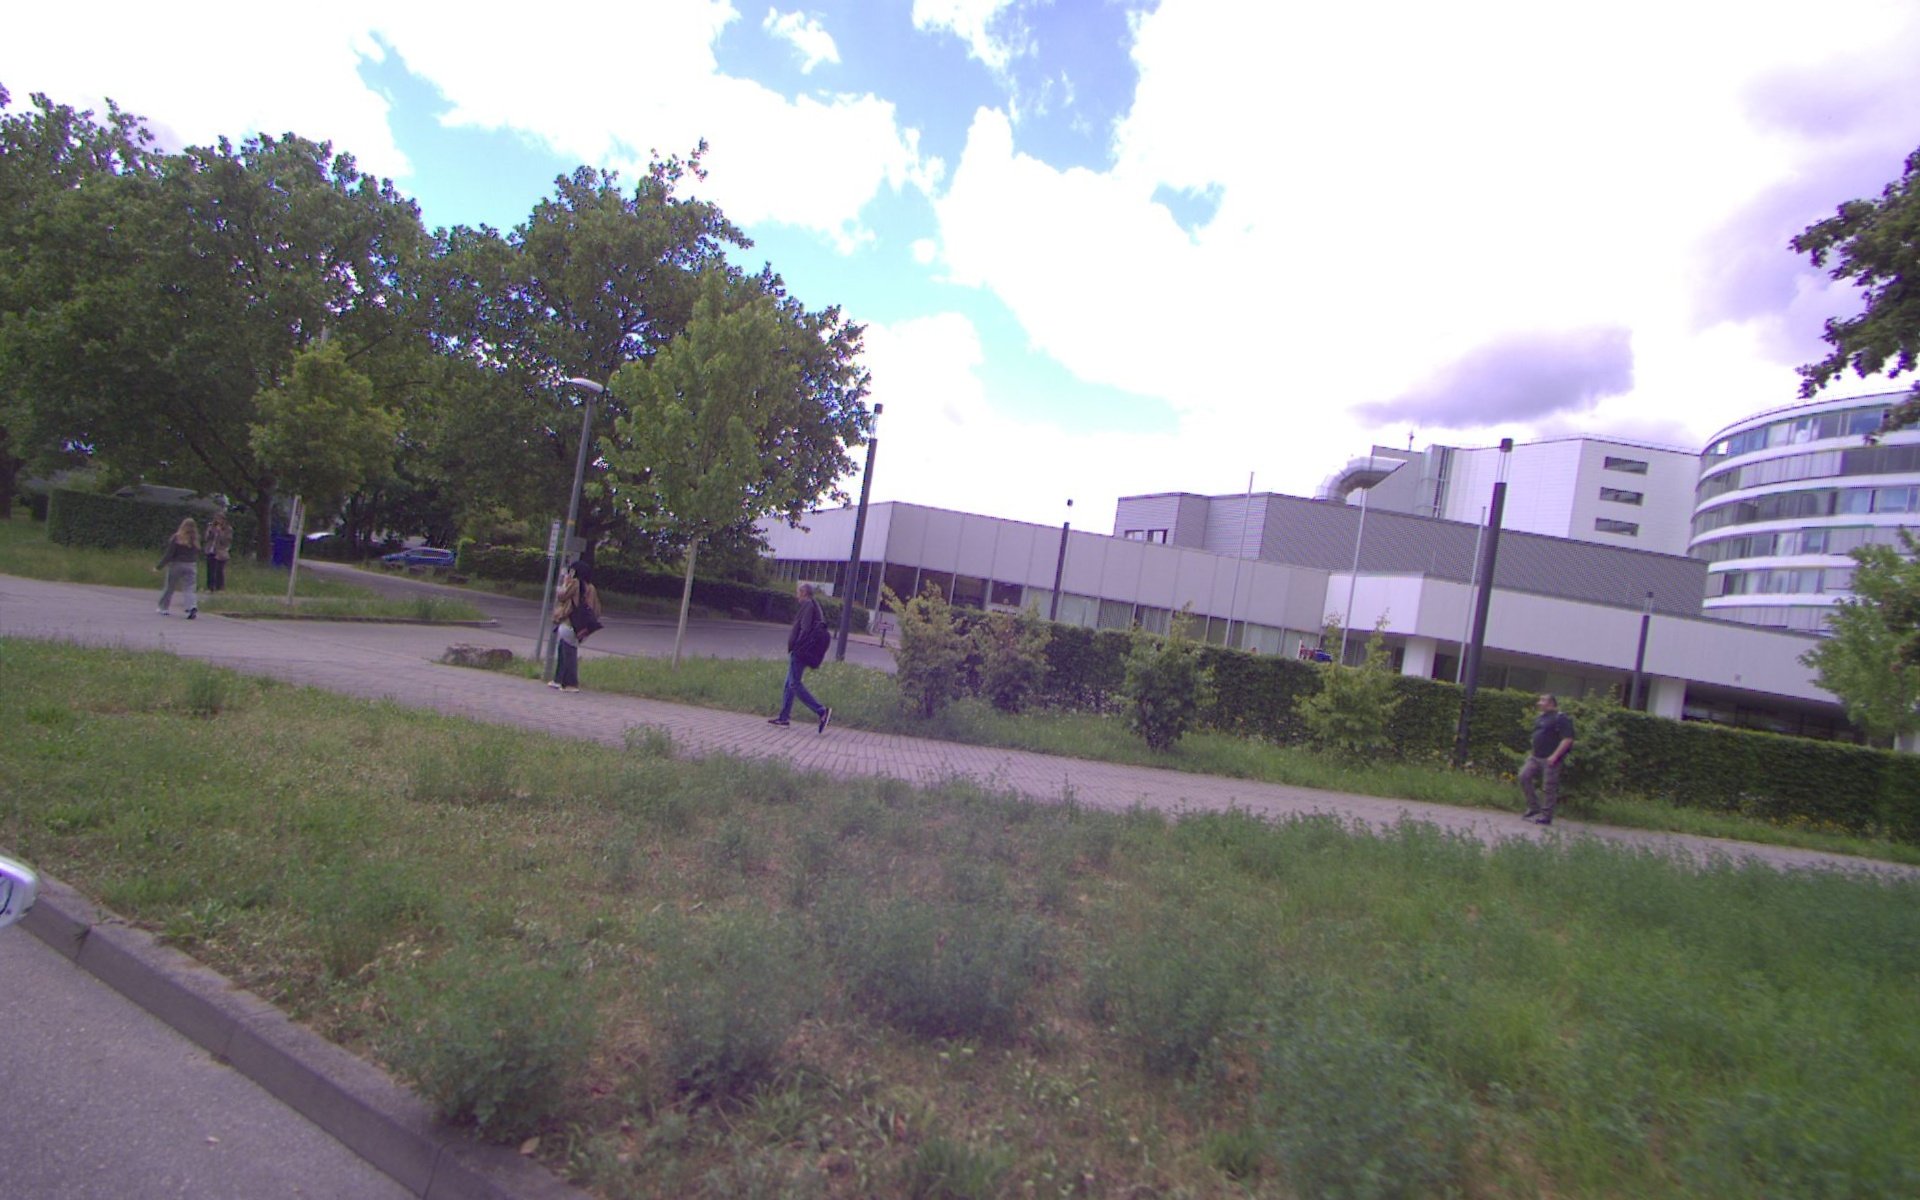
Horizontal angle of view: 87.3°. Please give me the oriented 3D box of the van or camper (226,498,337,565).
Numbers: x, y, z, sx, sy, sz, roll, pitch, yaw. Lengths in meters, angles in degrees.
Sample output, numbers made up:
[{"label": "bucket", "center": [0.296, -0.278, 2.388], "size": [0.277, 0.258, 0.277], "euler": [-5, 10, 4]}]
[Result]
[{"label": "van or camper", "center": [-36.425, -3.611, 54.130], "size": [4.428, 2.830, 2.102], "euler": [8, -2, -27]}]

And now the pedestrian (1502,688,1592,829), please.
[{"label": "pedestrian", "center": [7.563, 2.023, 12.984], "size": [0.593, 1.663, 0.638], "euler": [7, -1, -2]}]

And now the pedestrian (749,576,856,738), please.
[{"label": "pedestrian", "center": [-1.832, 0.665, 11.816], "size": [0.870, 1.742, 0.763], "euler": [7, -1, 6]}]

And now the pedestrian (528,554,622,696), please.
[{"label": "pedestrian", "center": [-4.914, 0.308, 12.839], "size": [0.648, 1.688, 0.887], "euler": [8, -1, -43]}]

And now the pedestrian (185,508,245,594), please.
[{"label": "pedestrian", "center": [-16.021, -1.045, 21.635], "size": [0.695, 1.731, 0.655], "euler": [6, -1, 33]}]

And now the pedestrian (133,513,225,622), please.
[{"label": "pedestrian", "center": [-12.778, -0.524, 16.466], "size": [0.915, 1.640, 0.689], "euler": [7, -1, 24]}]

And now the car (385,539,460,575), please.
[{"label": "car", "center": [-33.800, -2.675, 63.334], "size": [3.956, 1.592, 1.753], "euler": [9, -2, -29]}]

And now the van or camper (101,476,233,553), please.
[{"label": "van or camper", "center": [-37.608, -3.982, 47.876], "size": [4.437, 2.830, 2.097], "euler": [9, -2, -33]}]
